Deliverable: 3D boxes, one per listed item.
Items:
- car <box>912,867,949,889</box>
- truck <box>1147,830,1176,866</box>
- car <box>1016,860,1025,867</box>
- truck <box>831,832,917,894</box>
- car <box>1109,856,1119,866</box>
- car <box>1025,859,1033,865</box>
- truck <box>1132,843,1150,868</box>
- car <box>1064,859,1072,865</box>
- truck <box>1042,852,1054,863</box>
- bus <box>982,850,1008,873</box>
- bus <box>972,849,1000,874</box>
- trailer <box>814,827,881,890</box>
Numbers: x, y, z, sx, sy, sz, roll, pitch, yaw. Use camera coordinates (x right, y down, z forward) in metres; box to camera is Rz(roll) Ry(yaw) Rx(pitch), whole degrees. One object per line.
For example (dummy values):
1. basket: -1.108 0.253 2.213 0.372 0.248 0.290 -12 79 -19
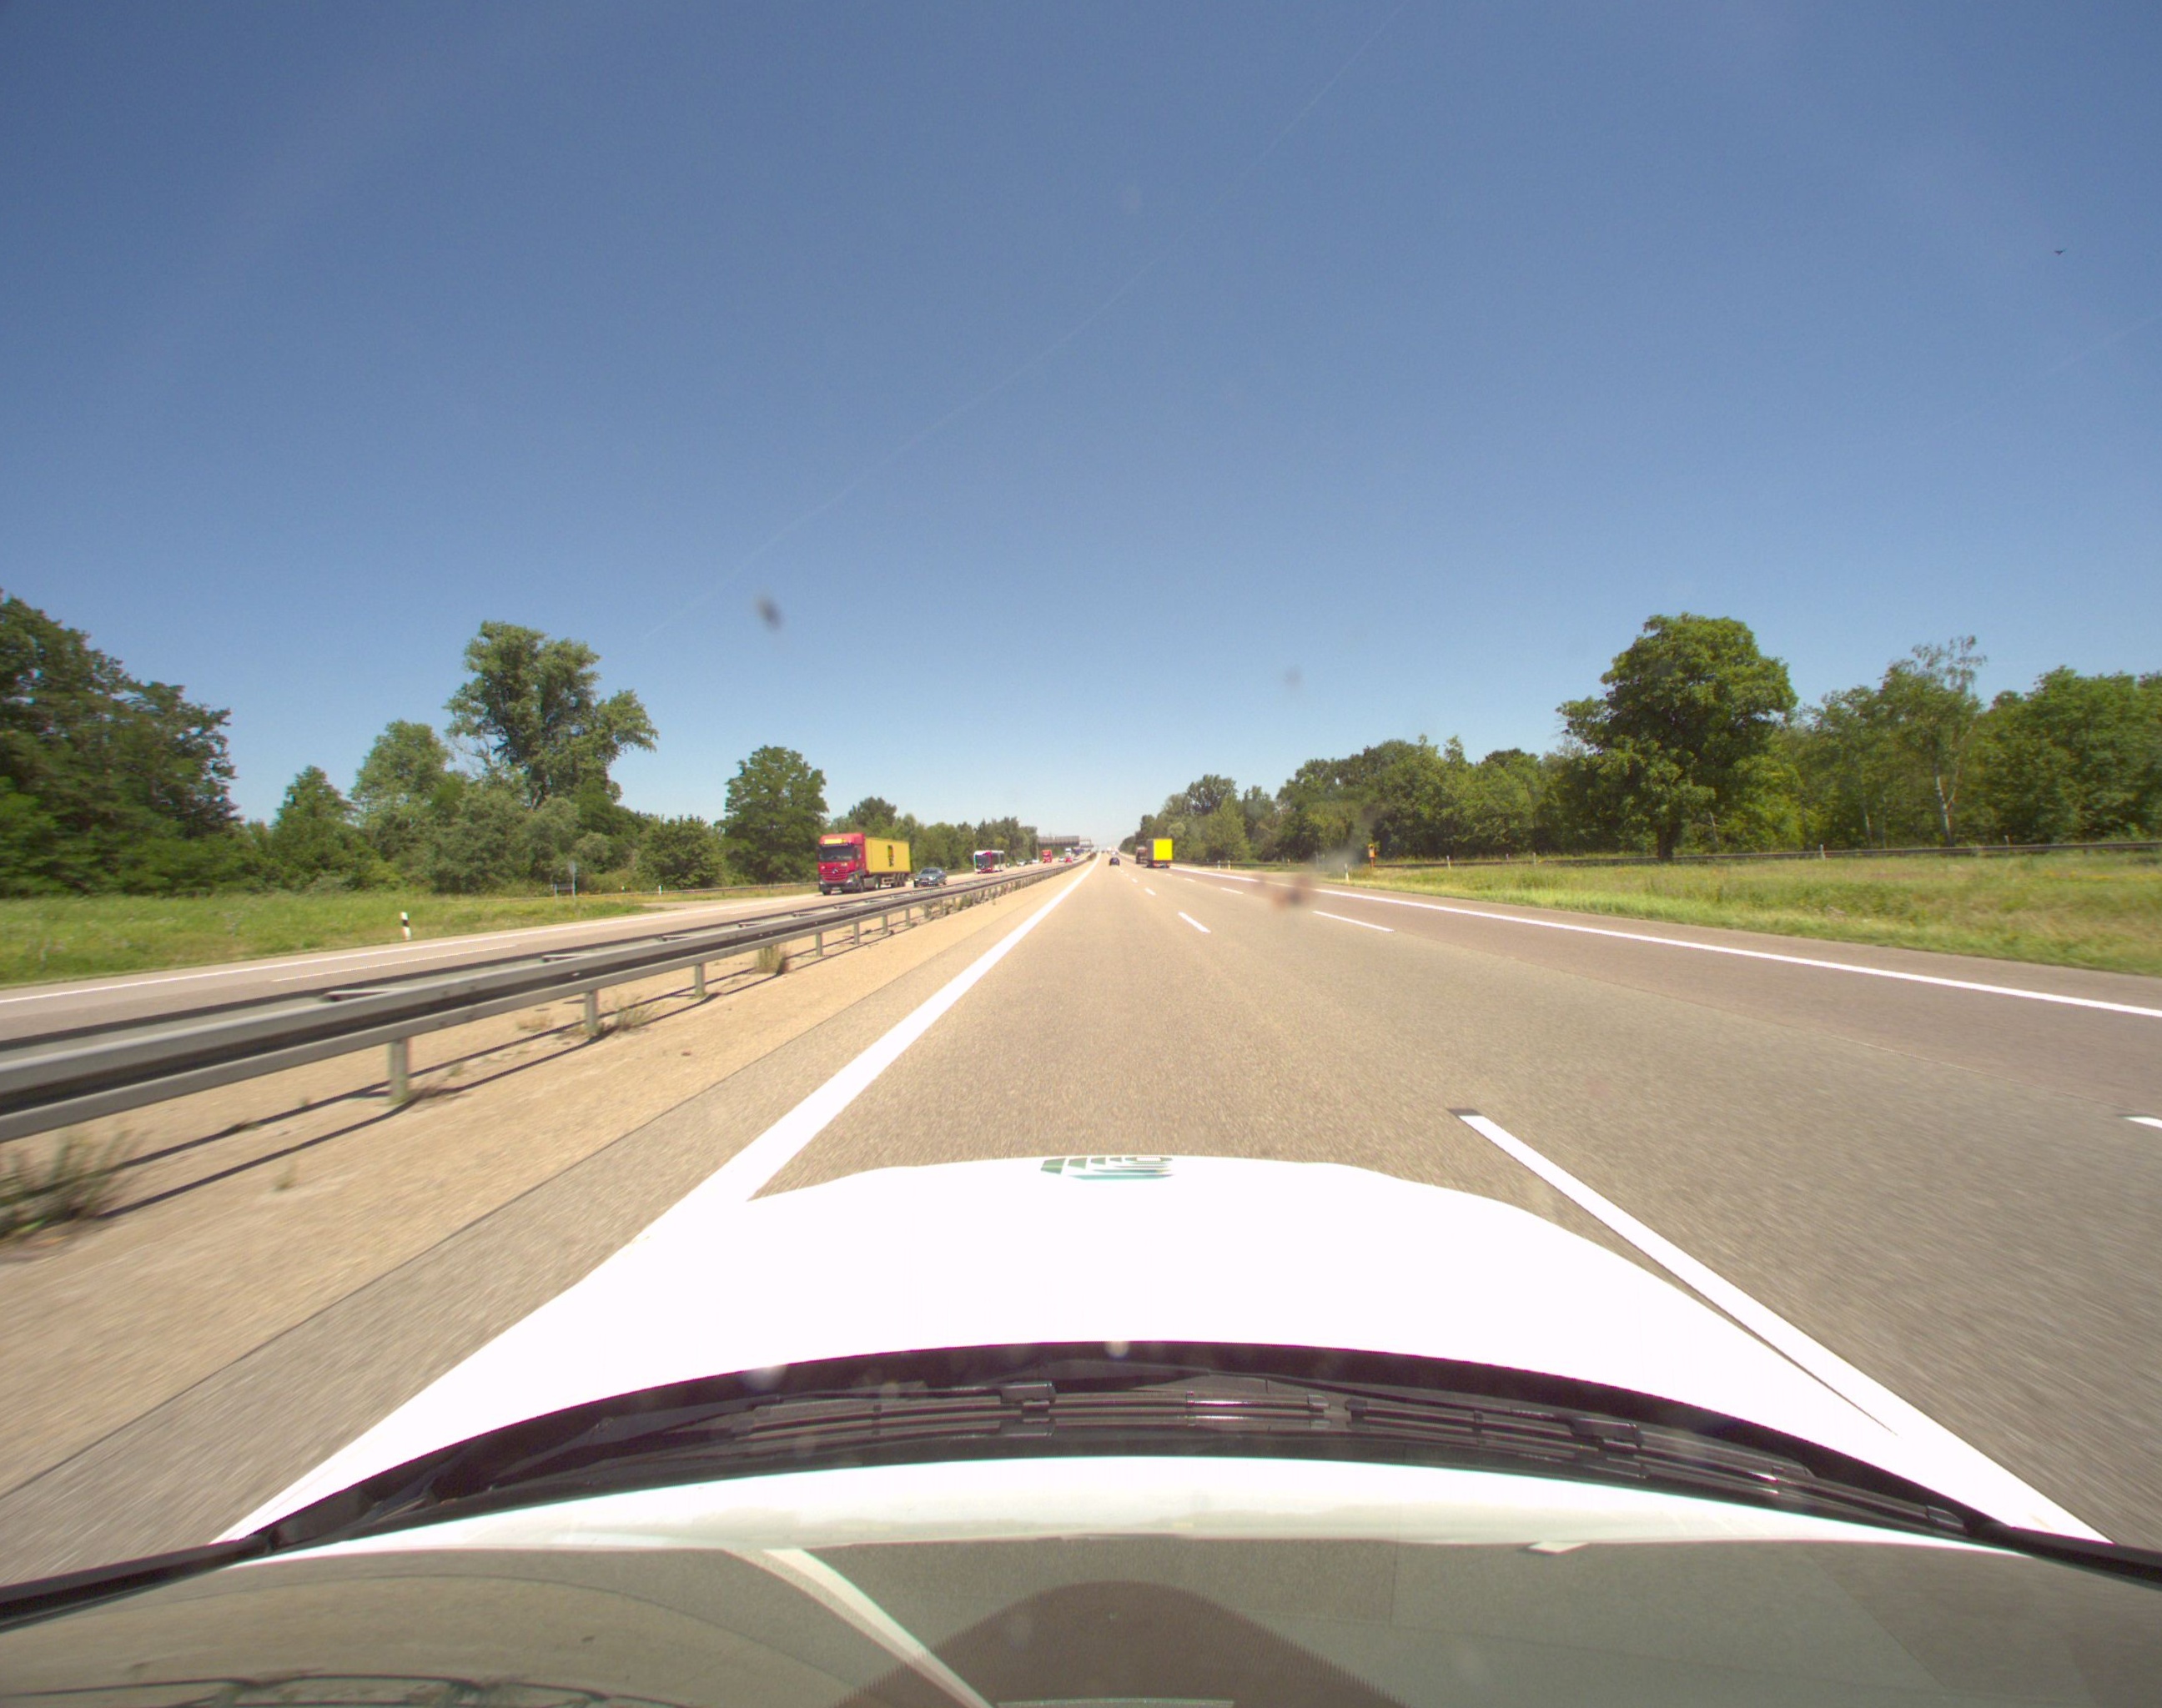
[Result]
1. car: -11.308 1.776 61.421 1.715 1.380 4.786 -5 -1 0
2. truck: 11.579 -0.804 118.102 3.363 4.881 15.094 0 0 2
3. car: -14.987 2.364 202.849 1.802 1.772 4.001 -2 0 2
4. truck: -15.407 0.662 61.921 2.590 4.047 12.697 -4 0 2
5. car: 5.802 1.228 143.880 1.820 1.706 4.001 0 0 1
6. car: -14.697 2.223 229.279 1.802 1.504 4.001 -2 0 2
7. truck: 12.197 0.324 166.885 3.353 4.881 15.094 0 0 2
8. car: -3.453 2.071 218.666 1.802 1.504 4.001 -2 0 2
9. truck: -10.051 1.101 247.880 2.588 3.212 12.129 0 0 2
10. bus: -13.903 1.181 132.052 2.753 3.447 10.149 -2 0 2
11. bus: -14.223 1.131 122.504 2.753 3.447 8.935 -2 0 2
12. trailer: -15.561 0.330 54.792 2.593 3.992 6.031 0 0 2
